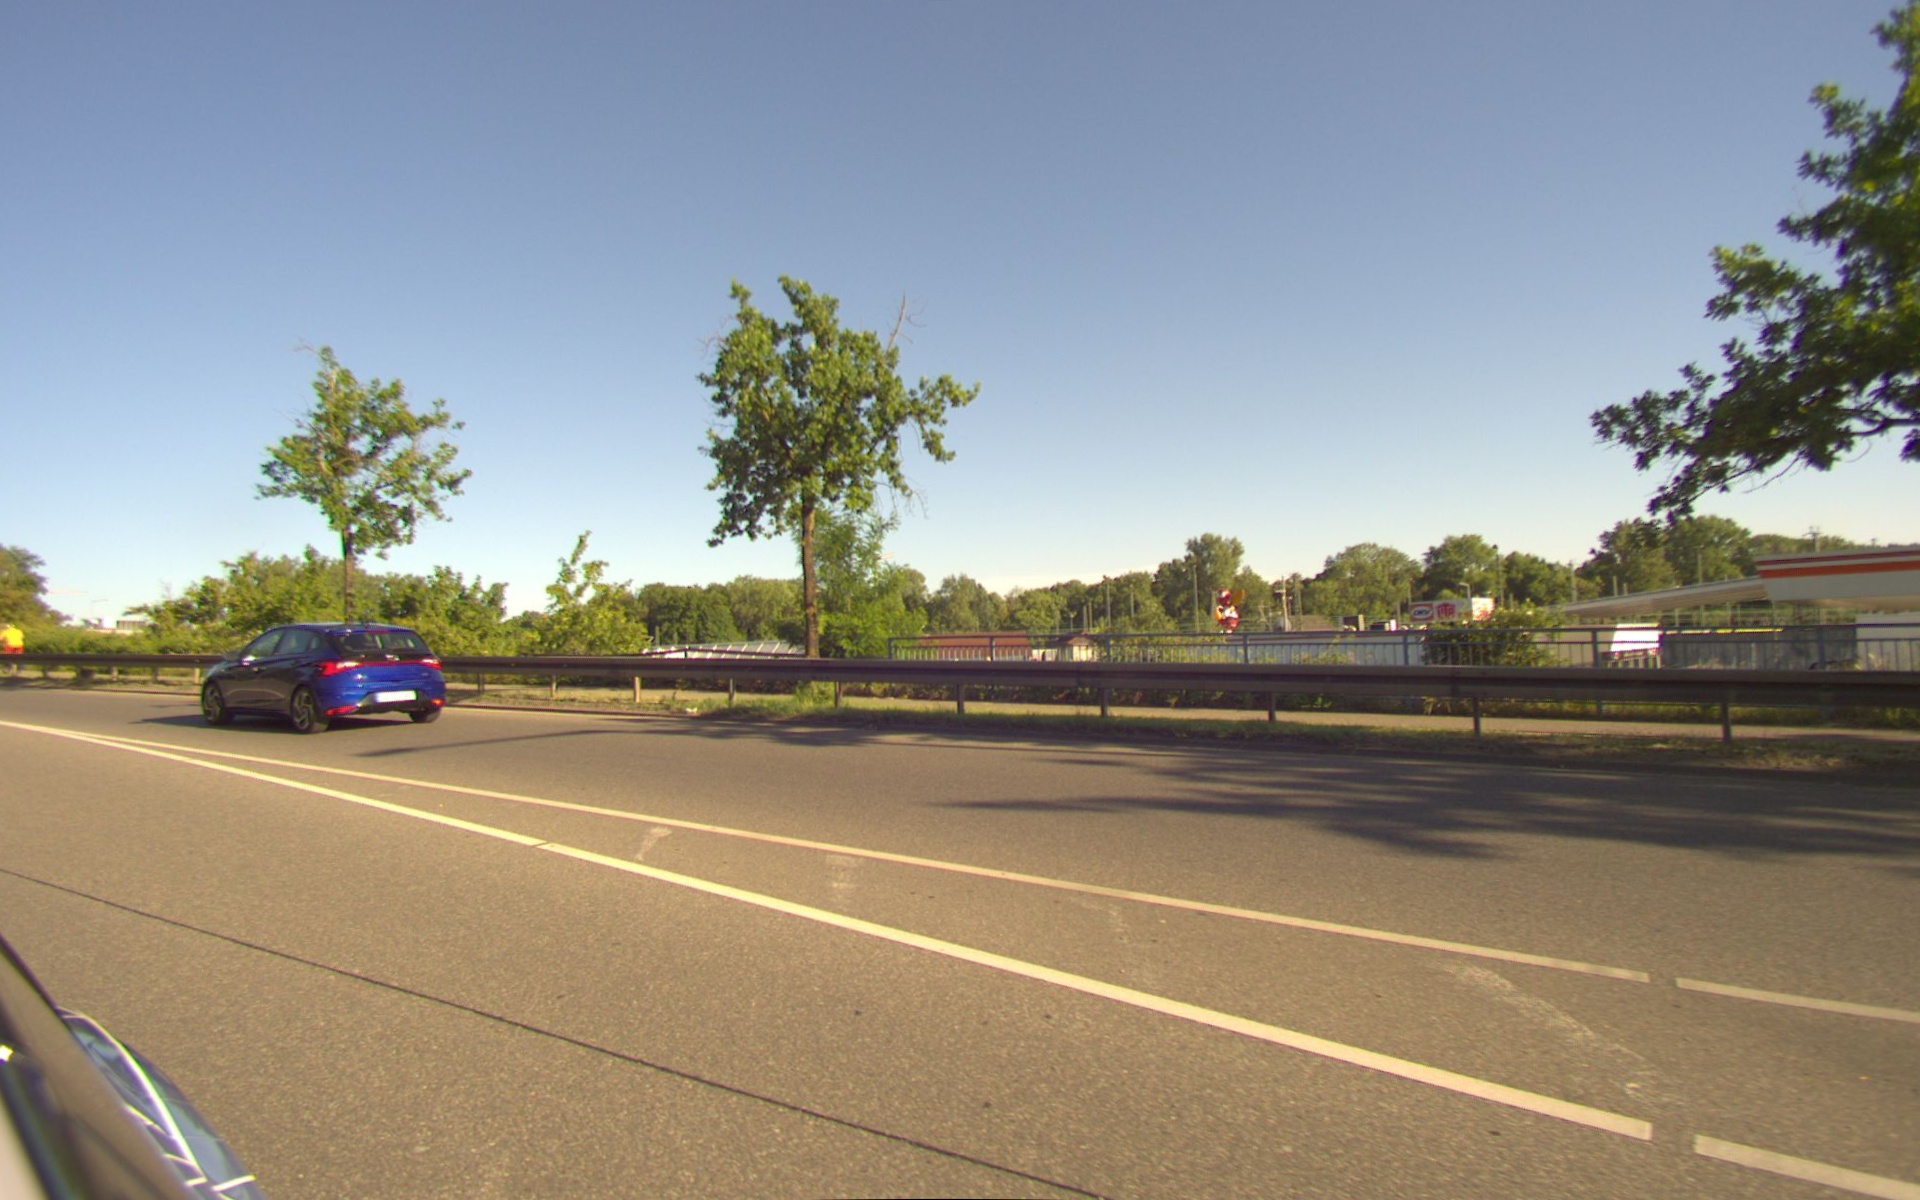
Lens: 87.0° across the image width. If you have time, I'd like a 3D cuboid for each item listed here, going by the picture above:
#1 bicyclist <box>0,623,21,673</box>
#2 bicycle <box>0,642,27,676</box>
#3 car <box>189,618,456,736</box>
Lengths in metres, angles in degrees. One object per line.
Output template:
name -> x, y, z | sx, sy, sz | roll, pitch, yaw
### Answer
bicyclist -> -31.746, 1.593, 33.541 | 0.870, 1.636, 0.647 | -1, -3, 30
bicycle -> -31.817, 1.932, 33.561 | 2.100, 1.104, 0.655 | -1, -3, 30
car -> -8.990, 1.009, 14.215 | 3.835, 1.456, 1.652 | -2, -2, 31
